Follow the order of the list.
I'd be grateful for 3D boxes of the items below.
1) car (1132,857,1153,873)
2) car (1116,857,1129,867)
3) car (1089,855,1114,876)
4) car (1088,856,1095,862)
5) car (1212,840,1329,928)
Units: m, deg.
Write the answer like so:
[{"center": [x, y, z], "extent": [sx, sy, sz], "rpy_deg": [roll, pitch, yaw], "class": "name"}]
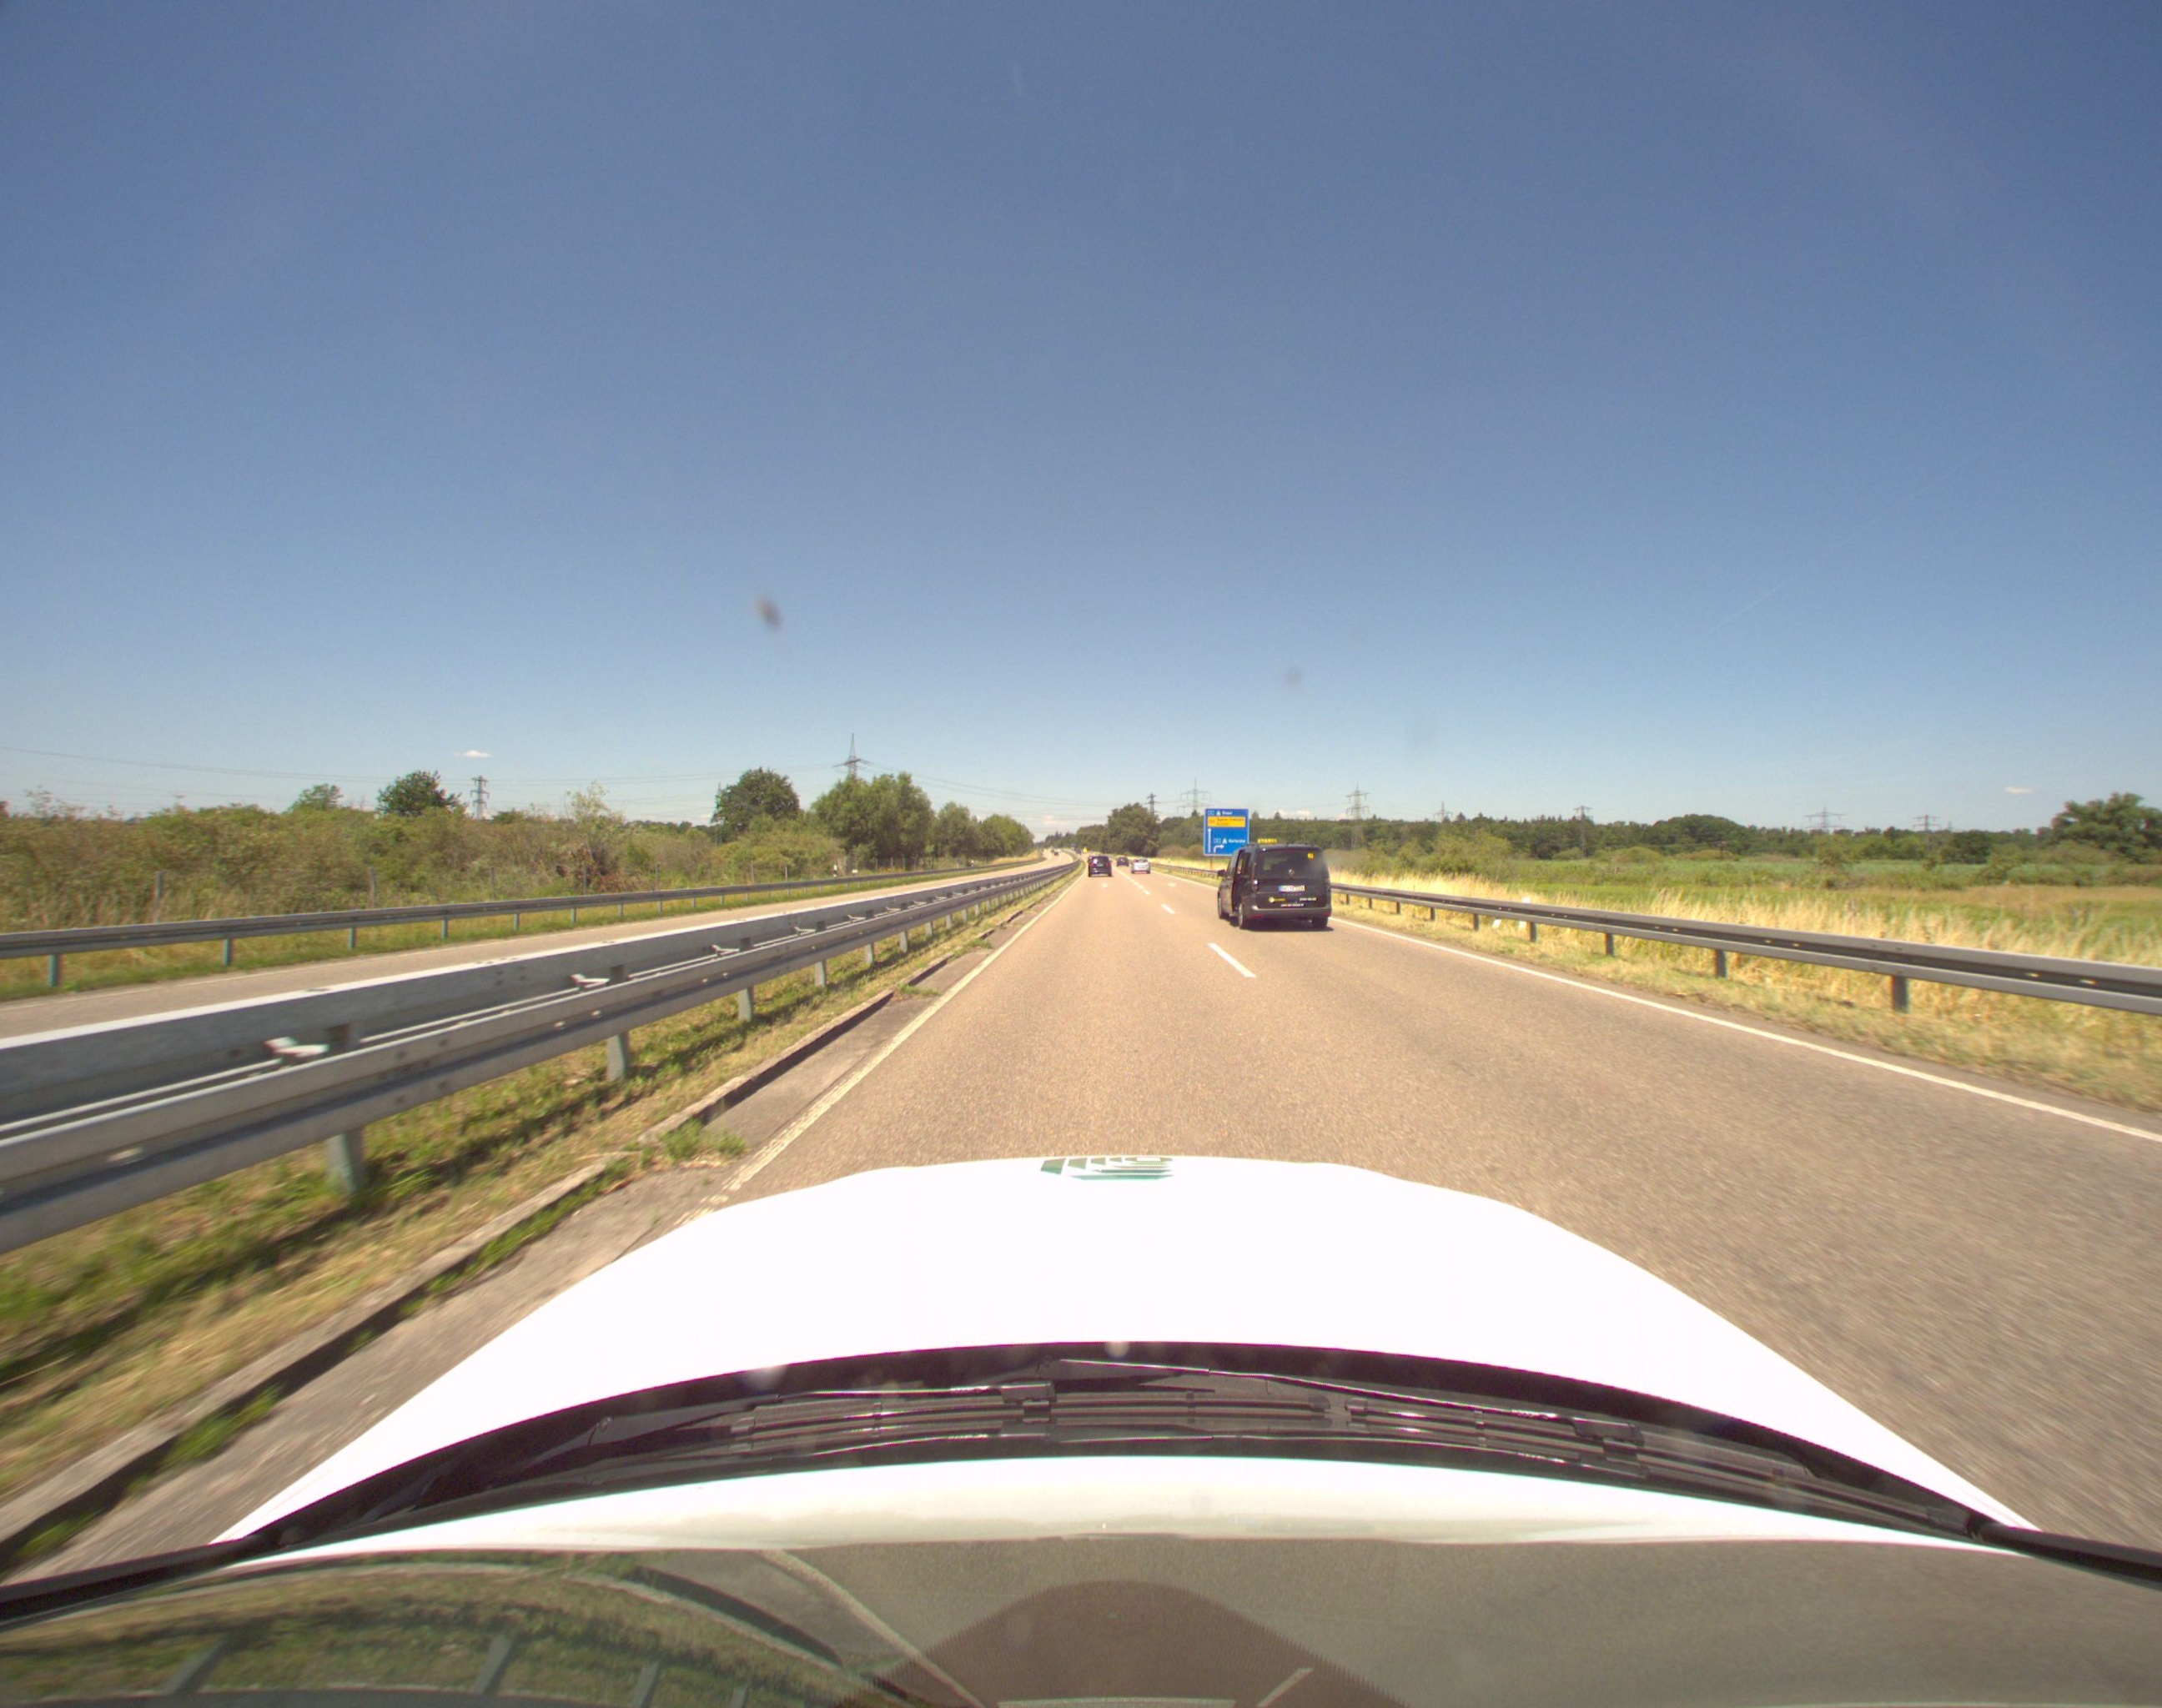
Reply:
[{"center": [5.716, 1.045, 76.459], "extent": [1.772, 1.479, 4.316], "rpy_deg": [0, 0, 1], "class": "car"}, {"center": [6.184, 1.160, 121.786], "extent": [1.812, 1.414, 4.002], "rpy_deg": [-1, 0, 2], "class": "car"}, {"center": [1.693, 0.914, 66.608], "extent": [1.986, 1.654, 4.001], "rpy_deg": [0, 0, 1], "class": "car"}, {"center": [2.361, 1.158, 185.446], "extent": [1.510, 1.475, 3.066], "rpy_deg": [0, 0, 0], "class": "car"}, {"center": [4.230, 0.627, 18.875], "extent": [1.774, 1.817, 4.213], "rpy_deg": [0, 0, 1], "class": "car"}]
